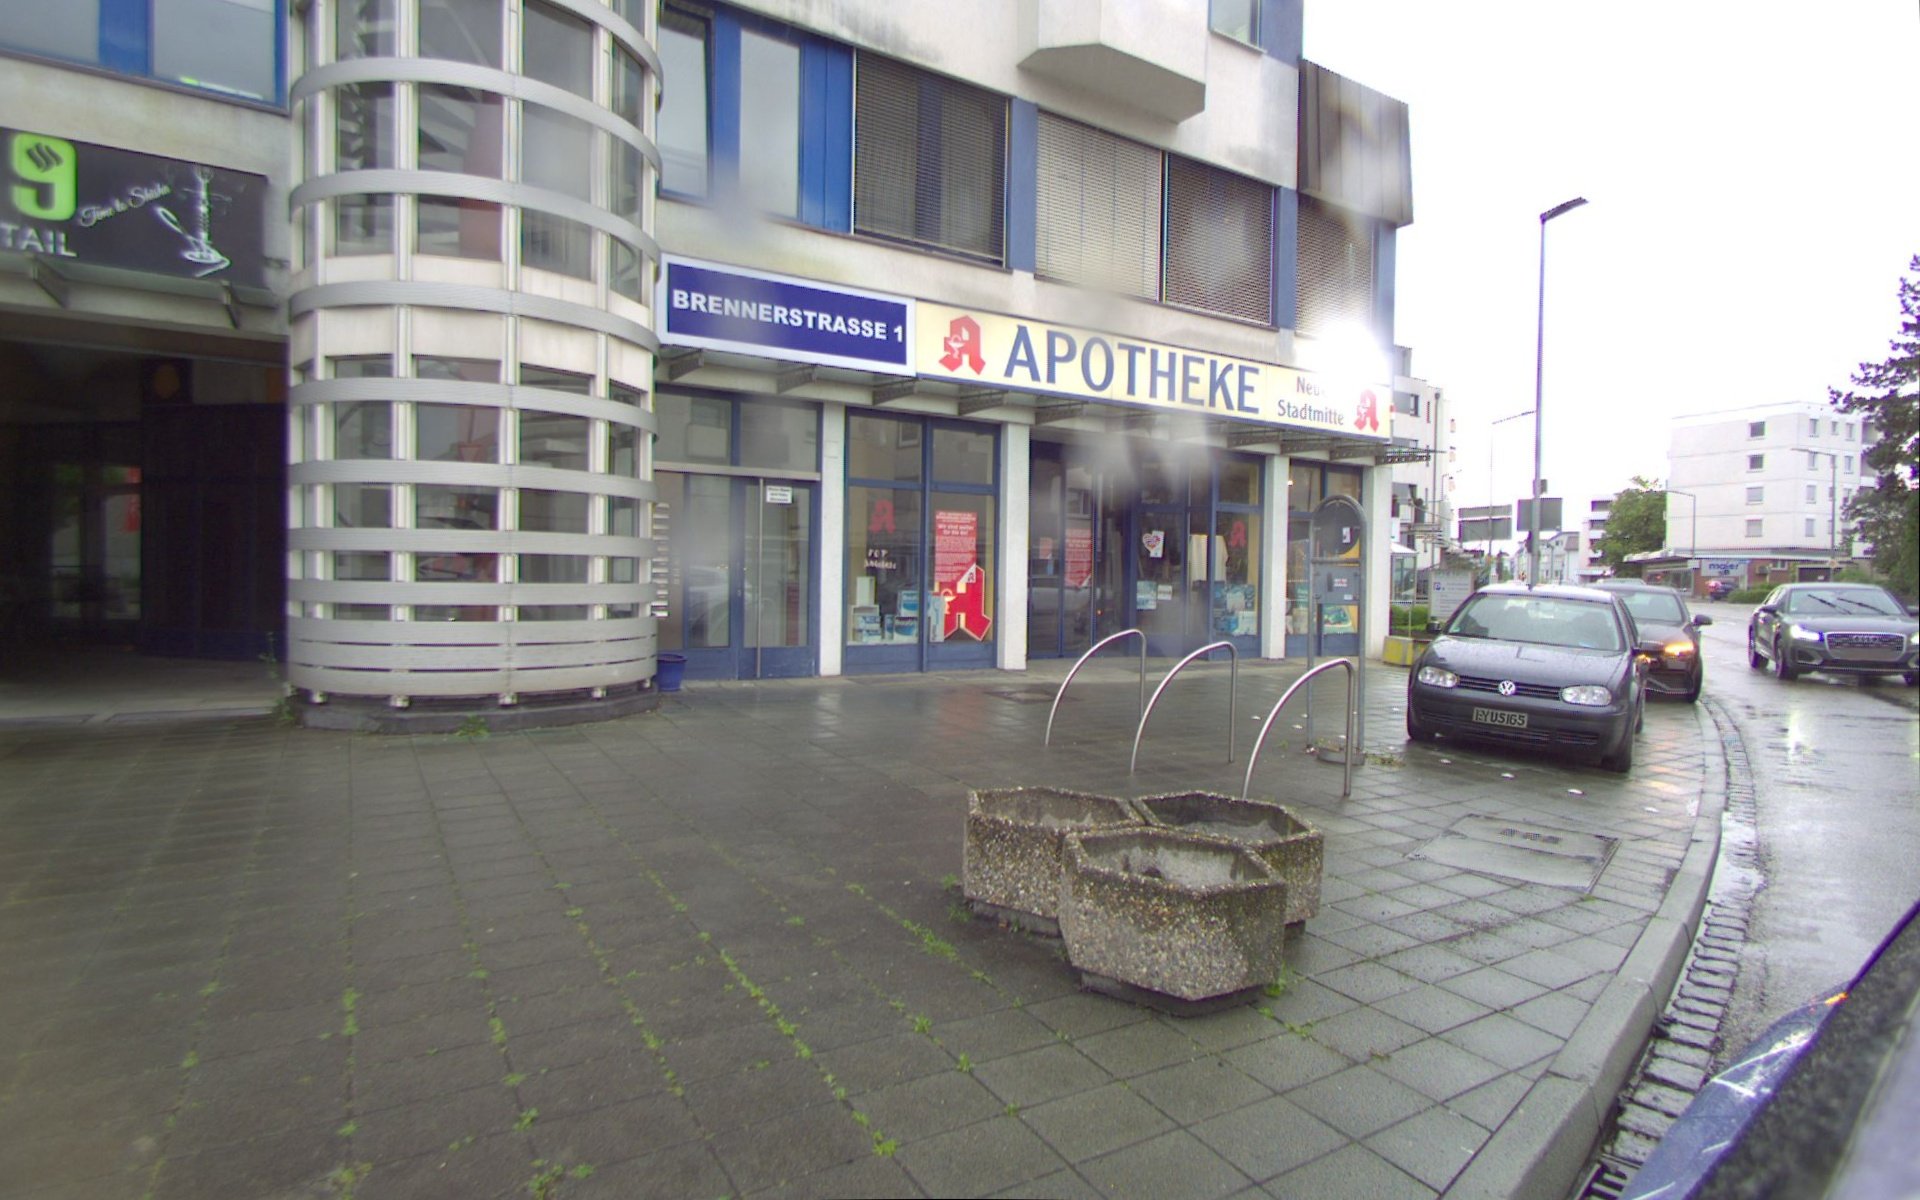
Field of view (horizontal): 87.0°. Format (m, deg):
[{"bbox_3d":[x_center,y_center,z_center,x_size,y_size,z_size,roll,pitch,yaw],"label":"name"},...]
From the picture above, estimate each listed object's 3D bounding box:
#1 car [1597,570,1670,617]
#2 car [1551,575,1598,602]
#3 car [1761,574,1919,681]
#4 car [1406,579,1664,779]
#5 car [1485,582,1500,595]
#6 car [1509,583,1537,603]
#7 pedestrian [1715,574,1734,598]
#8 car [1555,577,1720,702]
[{"bbox_3d":[23.996,-0.257,36.178,1.718,1.547,4.024,2,1,27],"label":"car"},{"bbox_3d":[34.840,-0.668,57.475,1.783,1.385,3.941,1,3,25],"label":"car"},{"bbox_3d":[14.212,0.339,16.234,1.723,1.462,4.001,1,2,33],"label":"car"},{"bbox_3d":[5.488,0.544,9.437,1.646,1.388,3.683,5,4,36],"label":"car"},{"bbox_3d":[71.157,-1.589,135.311,1.729,1.660,3.963,1,2,27],"label":"car"},{"bbox_3d":[46.583,-0.587,83.813,1.982,1.635,3.960,-1,1,28],"label":"car"},{"bbox_3d":[57.005,-1.043,75.436,0.845,1.757,0.831,1,2,20],"label":"pedestrian"},{"bbox_3d":[9.421,0.424,14.018,1.650,1.442,3.949,2,2,36],"label":"car"}]
